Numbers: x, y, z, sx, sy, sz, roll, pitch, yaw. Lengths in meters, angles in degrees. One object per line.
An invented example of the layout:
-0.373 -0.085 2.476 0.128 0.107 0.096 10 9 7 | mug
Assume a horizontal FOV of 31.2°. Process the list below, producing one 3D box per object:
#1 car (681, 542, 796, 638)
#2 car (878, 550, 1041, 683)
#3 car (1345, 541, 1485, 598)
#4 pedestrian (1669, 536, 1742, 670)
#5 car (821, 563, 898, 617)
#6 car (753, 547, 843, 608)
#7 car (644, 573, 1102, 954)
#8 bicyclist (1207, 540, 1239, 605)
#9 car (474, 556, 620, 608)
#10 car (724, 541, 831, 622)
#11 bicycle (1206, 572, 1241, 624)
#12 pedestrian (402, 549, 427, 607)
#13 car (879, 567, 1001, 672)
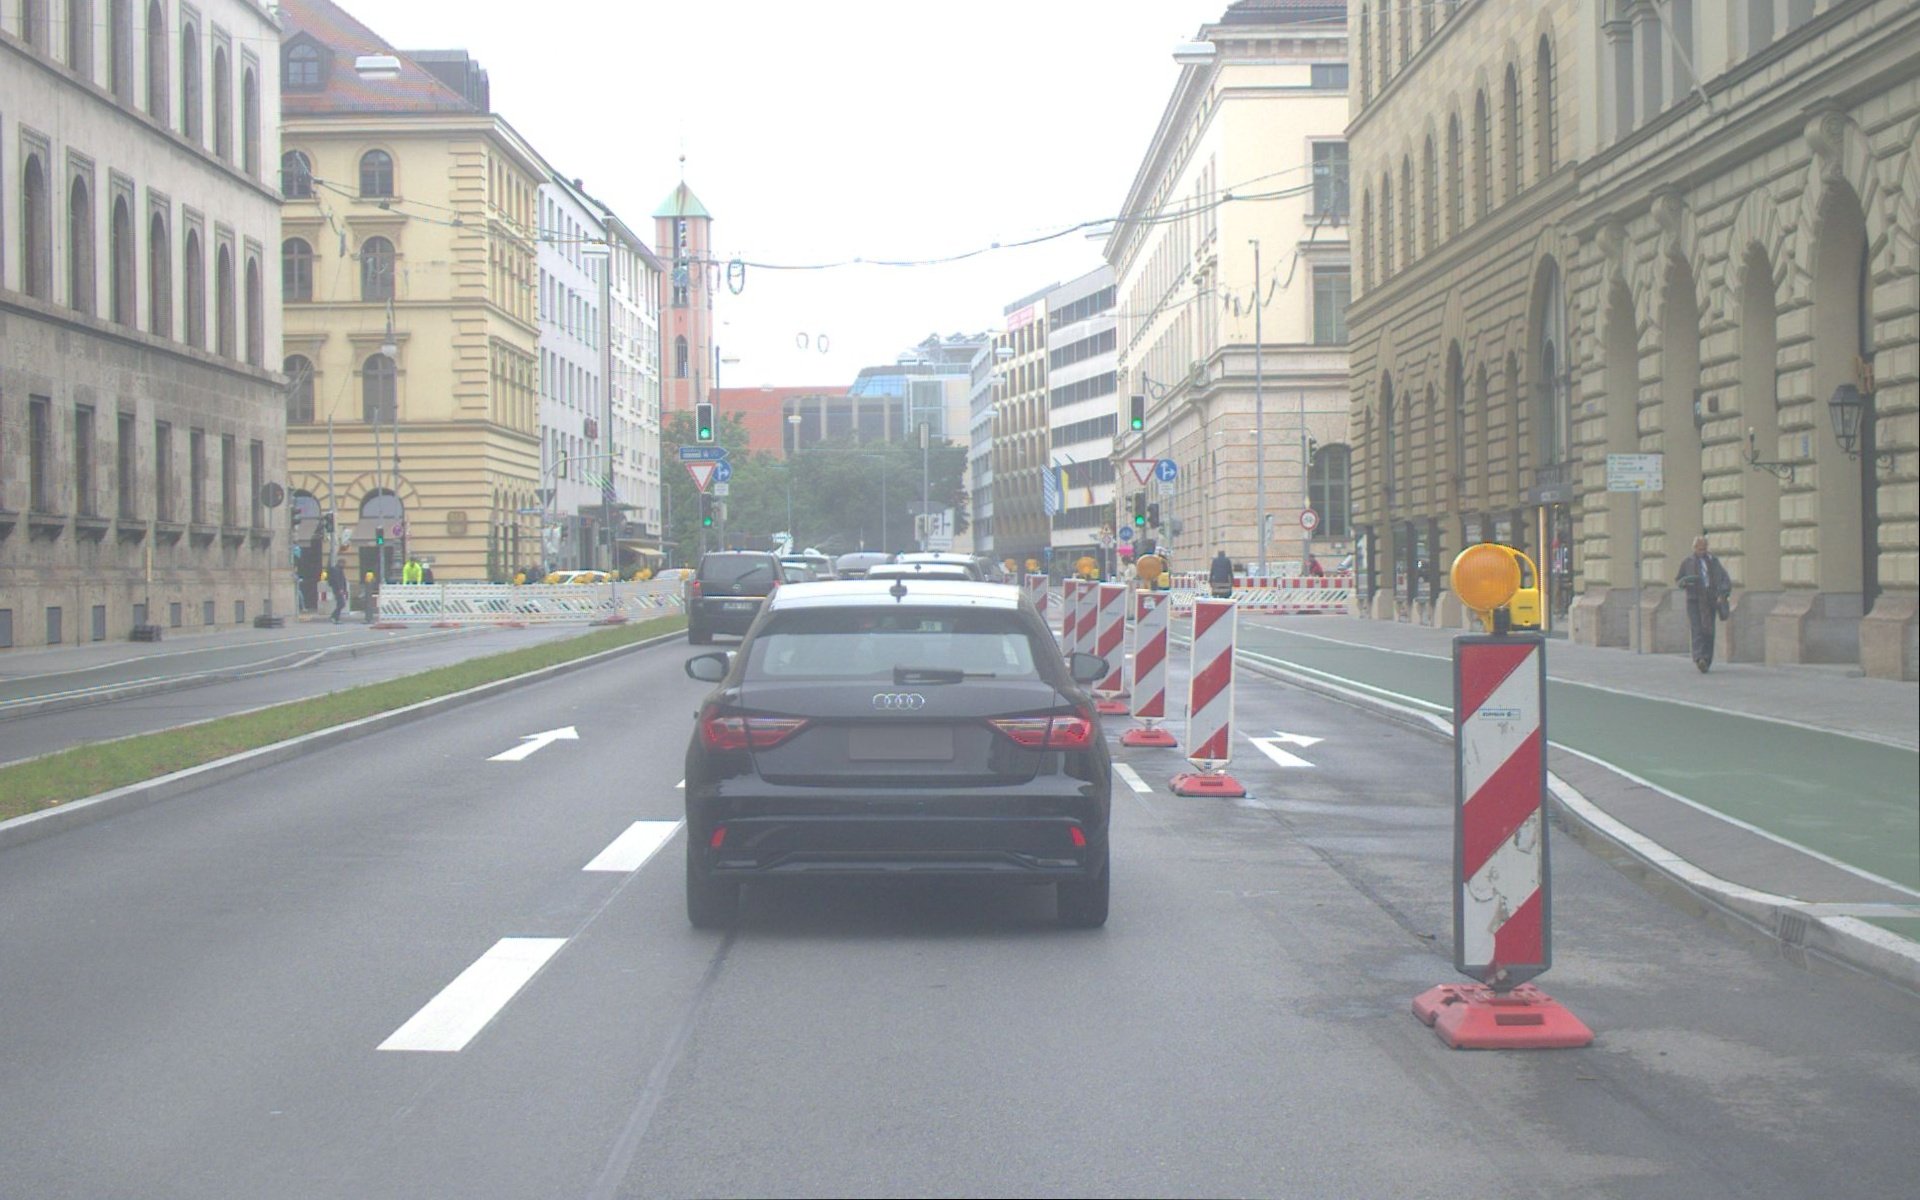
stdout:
-3.854 -0.205 60.298 1.764 1.610 4.030 1 1 0 | car
-0.019 0.147 38.874 1.730 1.398 4.000 1 1 0 | car
13.476 -0.907 101.970 3.987 1.656 2.000 0 1 4 | car
9.107 0.030 42.027 0.710 1.612 0.754 0 1 -1 | pedestrian
-2.764 -0.292 95.250 1.993 1.439 4.000 0 1 0 | car
-3.891 -0.560 83.201 1.993 1.439 4.000 0 1 0 | car
-0.345 0.610 15.144 1.730 1.398 4.000 1 1 0 | car
6.072 -0.641 79.391 0.710 1.495 0.754 0 1 2 | bicyclist
-11.605 -0.516 96.503 3.812 1.393 1.758 -1 1 -18 | car
-3.752 -0.400 71.289 1.993 1.622 4.000 0 1 0 | car
6.082 -0.056 79.514 0.728 1.152 2.172 0 1 3 | bicycle
-16.935 -0.686 106.831 0.656 1.799 0.727 0 1 -1 | pedestrian
-0.302 0.265 51.399 1.730 1.456 4.000 1 1 0 | car
